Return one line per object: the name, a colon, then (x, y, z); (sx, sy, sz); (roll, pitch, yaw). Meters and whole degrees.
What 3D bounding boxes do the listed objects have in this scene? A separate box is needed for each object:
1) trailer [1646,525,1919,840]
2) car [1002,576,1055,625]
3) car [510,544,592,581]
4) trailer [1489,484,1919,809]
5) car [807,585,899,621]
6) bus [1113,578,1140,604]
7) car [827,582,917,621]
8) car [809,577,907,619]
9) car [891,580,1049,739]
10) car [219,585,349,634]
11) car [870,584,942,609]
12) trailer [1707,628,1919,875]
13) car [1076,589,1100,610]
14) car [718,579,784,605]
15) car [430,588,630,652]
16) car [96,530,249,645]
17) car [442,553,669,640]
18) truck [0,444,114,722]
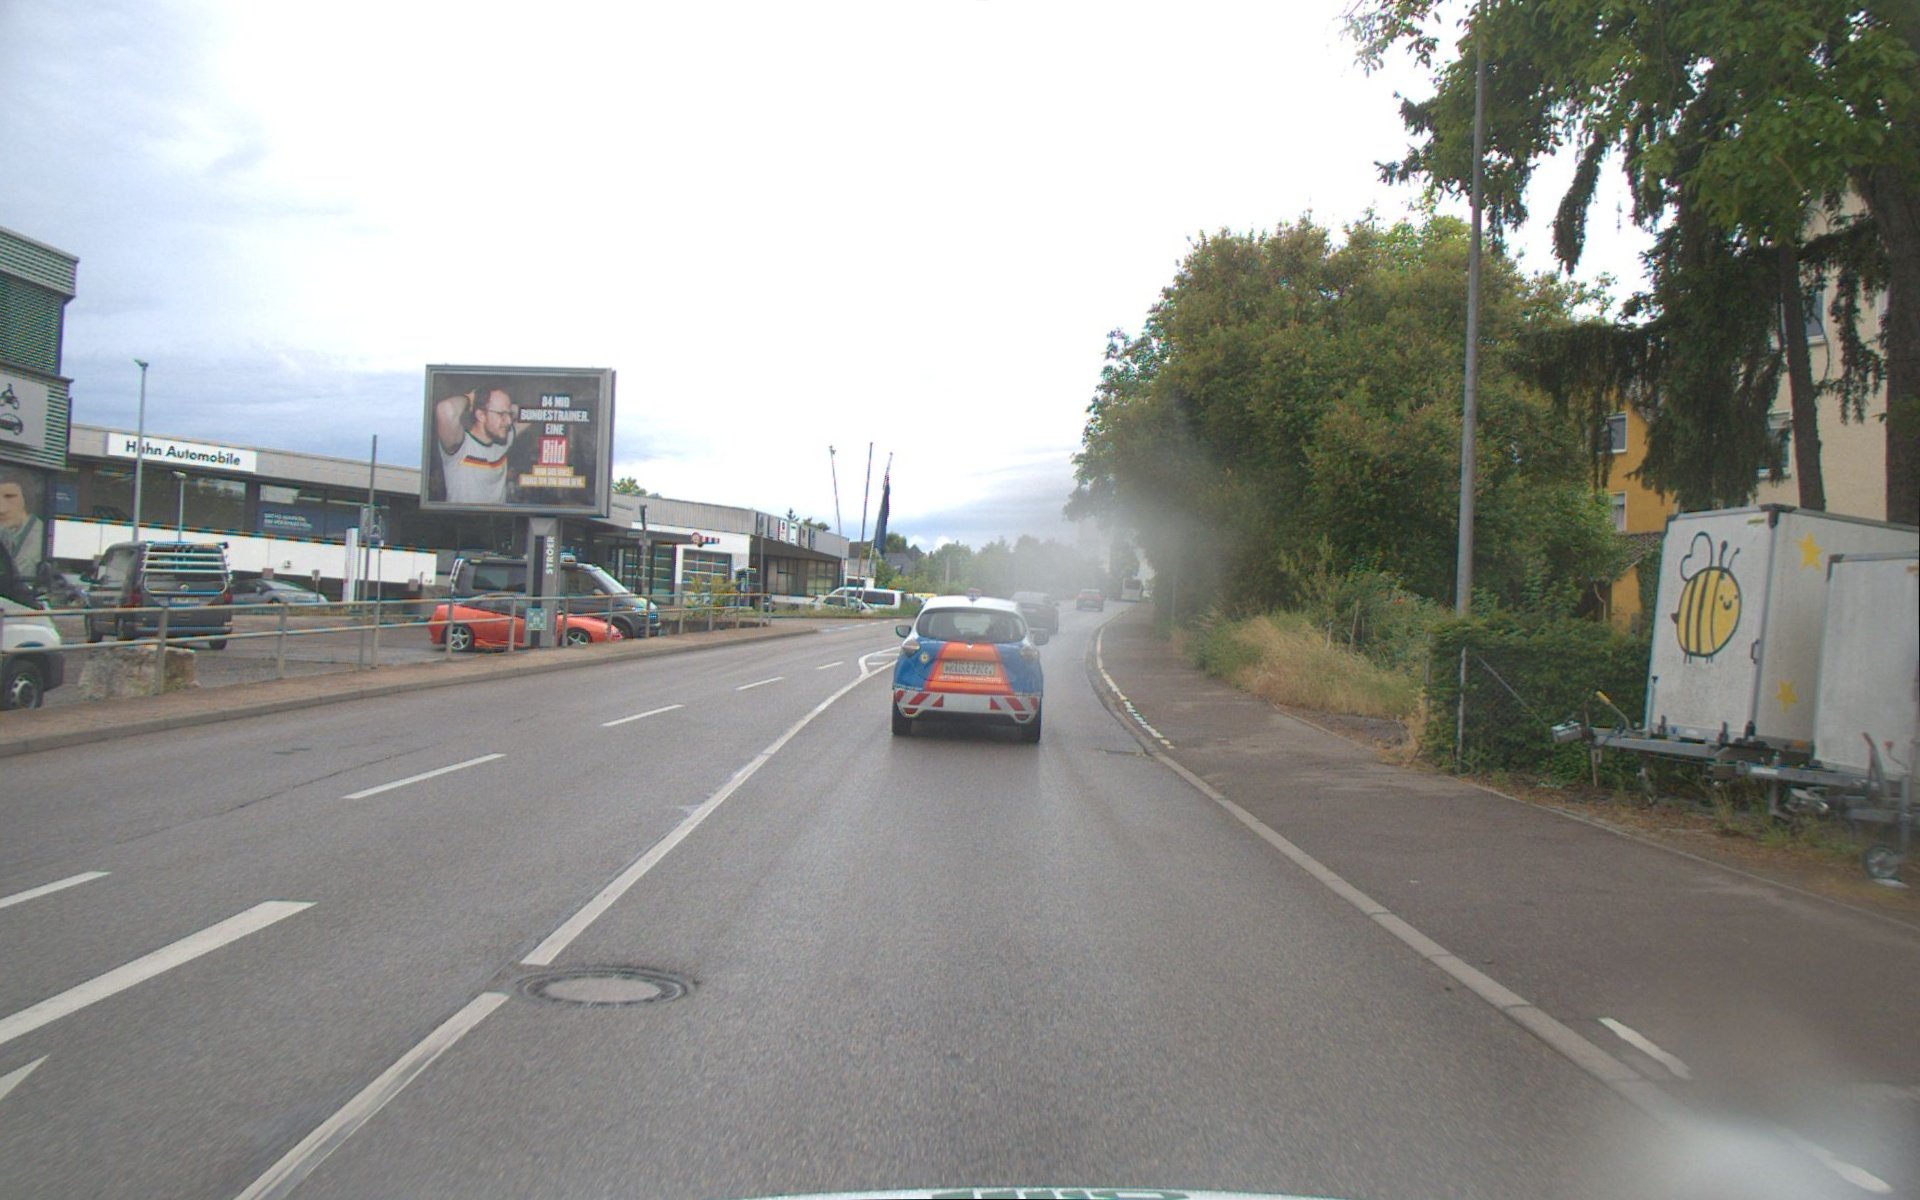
trailer: (7.318, 0.636, 12.026); (3.873, 2.057, 1.686); (3, 0, -2)
car: (2.392, 0.024, 57.629); (1.765, 1.618, 3.564); (1, 0, 2)
car: (-18.189, -1.650, 73.687); (1.779, 1.504, 4.025); (2, 1, 15)
trailer: (7.123, 0.423, 14.175); (4.450, 2.442, 1.945); (3, 0, -9)
car: (-4.877, 0.119, 75.716); (3.924, 1.504, 1.825); (2, 1, 5)
bus: (22.299, -1.163, 221.712); (2.850, 3.225, 11.469); (1, 0, 2)
car: (-4.451, 0.059, 84.072); (4.320, 1.829, 2.003); (2, 1, 3)
car: (-4.810, -0.126, 78.285); (4.319, 1.829, 1.936); (2, 1, 5)
car: (0.193, 0.658, 19.482); (1.623, 1.620, 3.569); (3, -1, 3)
car: (-21.959, 0.294, 53.685); (4.019, 1.452, 1.885); (2, 1, 32)
car: (-3.135, -0.229, 96.720); (3.977, 1.313, 1.805); (2, 1, 3)
trailer: (7.090, 0.938, 10.124); (4.308, 1.310, 1.571); (2, 1, -2)
car: (8.719, -0.031, 112.362); (1.580, 1.432, 3.499); (1, 0, 4)
car: (-12.935, -0.493, 102.235); (3.949, 1.440, 1.943); (2, 1, 41)
car: (-9.443, 0.432, 36.581); (4.013, 1.290, 1.767); (1, 0, -7)
car: (-15.477, -0.265, 32.375); (1.976, 2.022, 4.820); (3, 0, -34)
car: (-9.621, -0.082, 39.623); (4.965, 1.903, 1.822); (1, 0, -2)
truck: (-10.321, -0.129, 13.894); (1.952, 2.678, 7.897); (1, 1, 3)
